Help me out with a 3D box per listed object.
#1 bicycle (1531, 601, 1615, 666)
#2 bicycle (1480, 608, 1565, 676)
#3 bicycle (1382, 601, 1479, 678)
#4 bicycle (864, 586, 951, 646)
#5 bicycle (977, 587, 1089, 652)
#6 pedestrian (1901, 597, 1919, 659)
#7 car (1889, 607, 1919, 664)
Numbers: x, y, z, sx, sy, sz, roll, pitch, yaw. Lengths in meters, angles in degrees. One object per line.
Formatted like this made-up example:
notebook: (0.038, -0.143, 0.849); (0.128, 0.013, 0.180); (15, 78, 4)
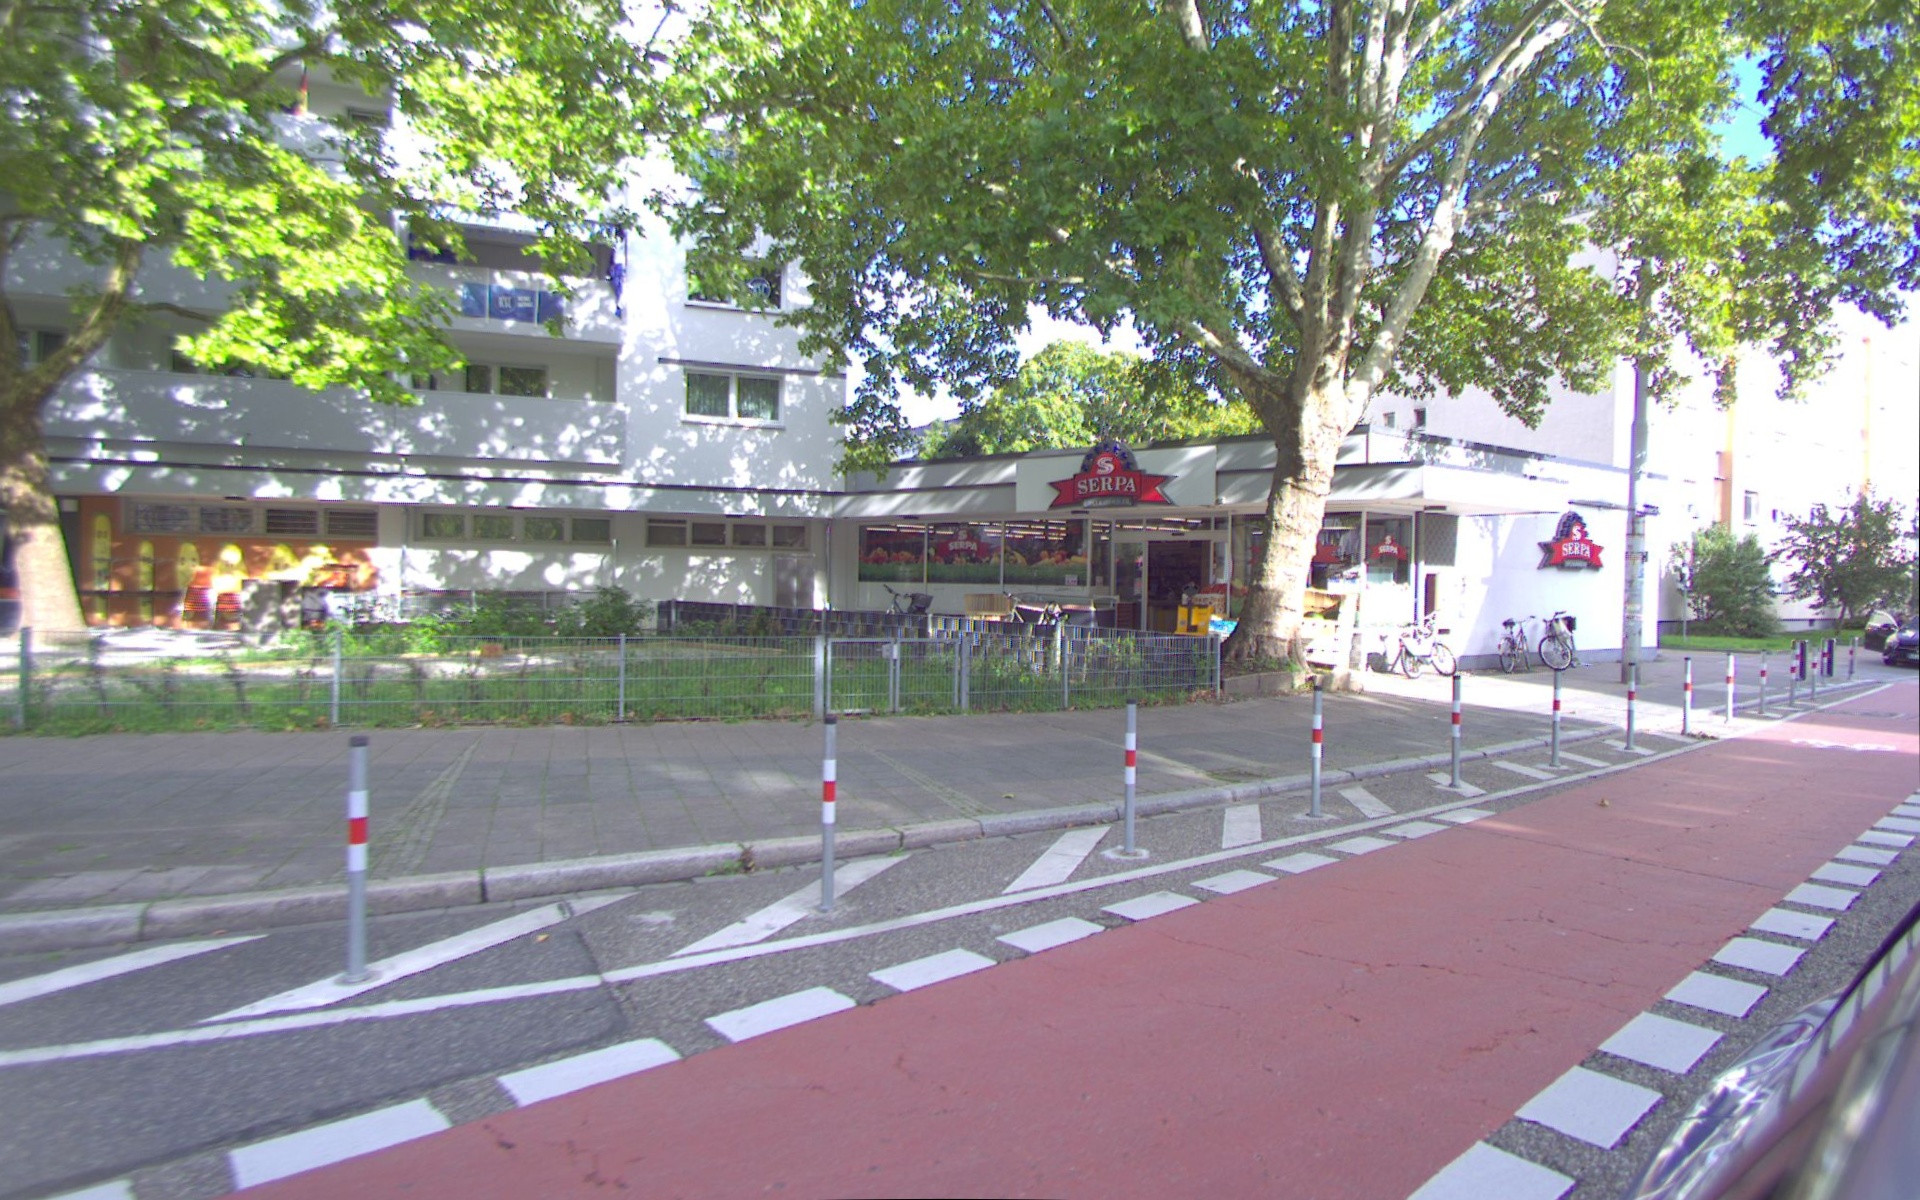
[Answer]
bicycle: (12.722, 0.675, 20.987); (1.781, 1.220, 0.772); (0, 4, -35)
bicycle: (11.067, 0.796, 19.882); (1.737, 1.220, 0.713); (0, 4, -35)
bicycle: (8.275, 0.657, 17.772); (1.782, 1.220, 0.715); (0, 4, -37)
bicycle: (-0.993, 0.284, 19.680); (0.688, 1.084, 1.832); (3, 2, 35)
bicycle: (1.297, 0.368, 18.072); (1.817, 1.053, 0.749); (3, -5, -16)
pedestrian: (26.153, 0.757, 27.559); (0.729, 1.666, 0.654); (1, 0, -38)
car: (26.472, 0.940, 26.859); (4.152, 1.429, 1.767); (0, 2, -35)
